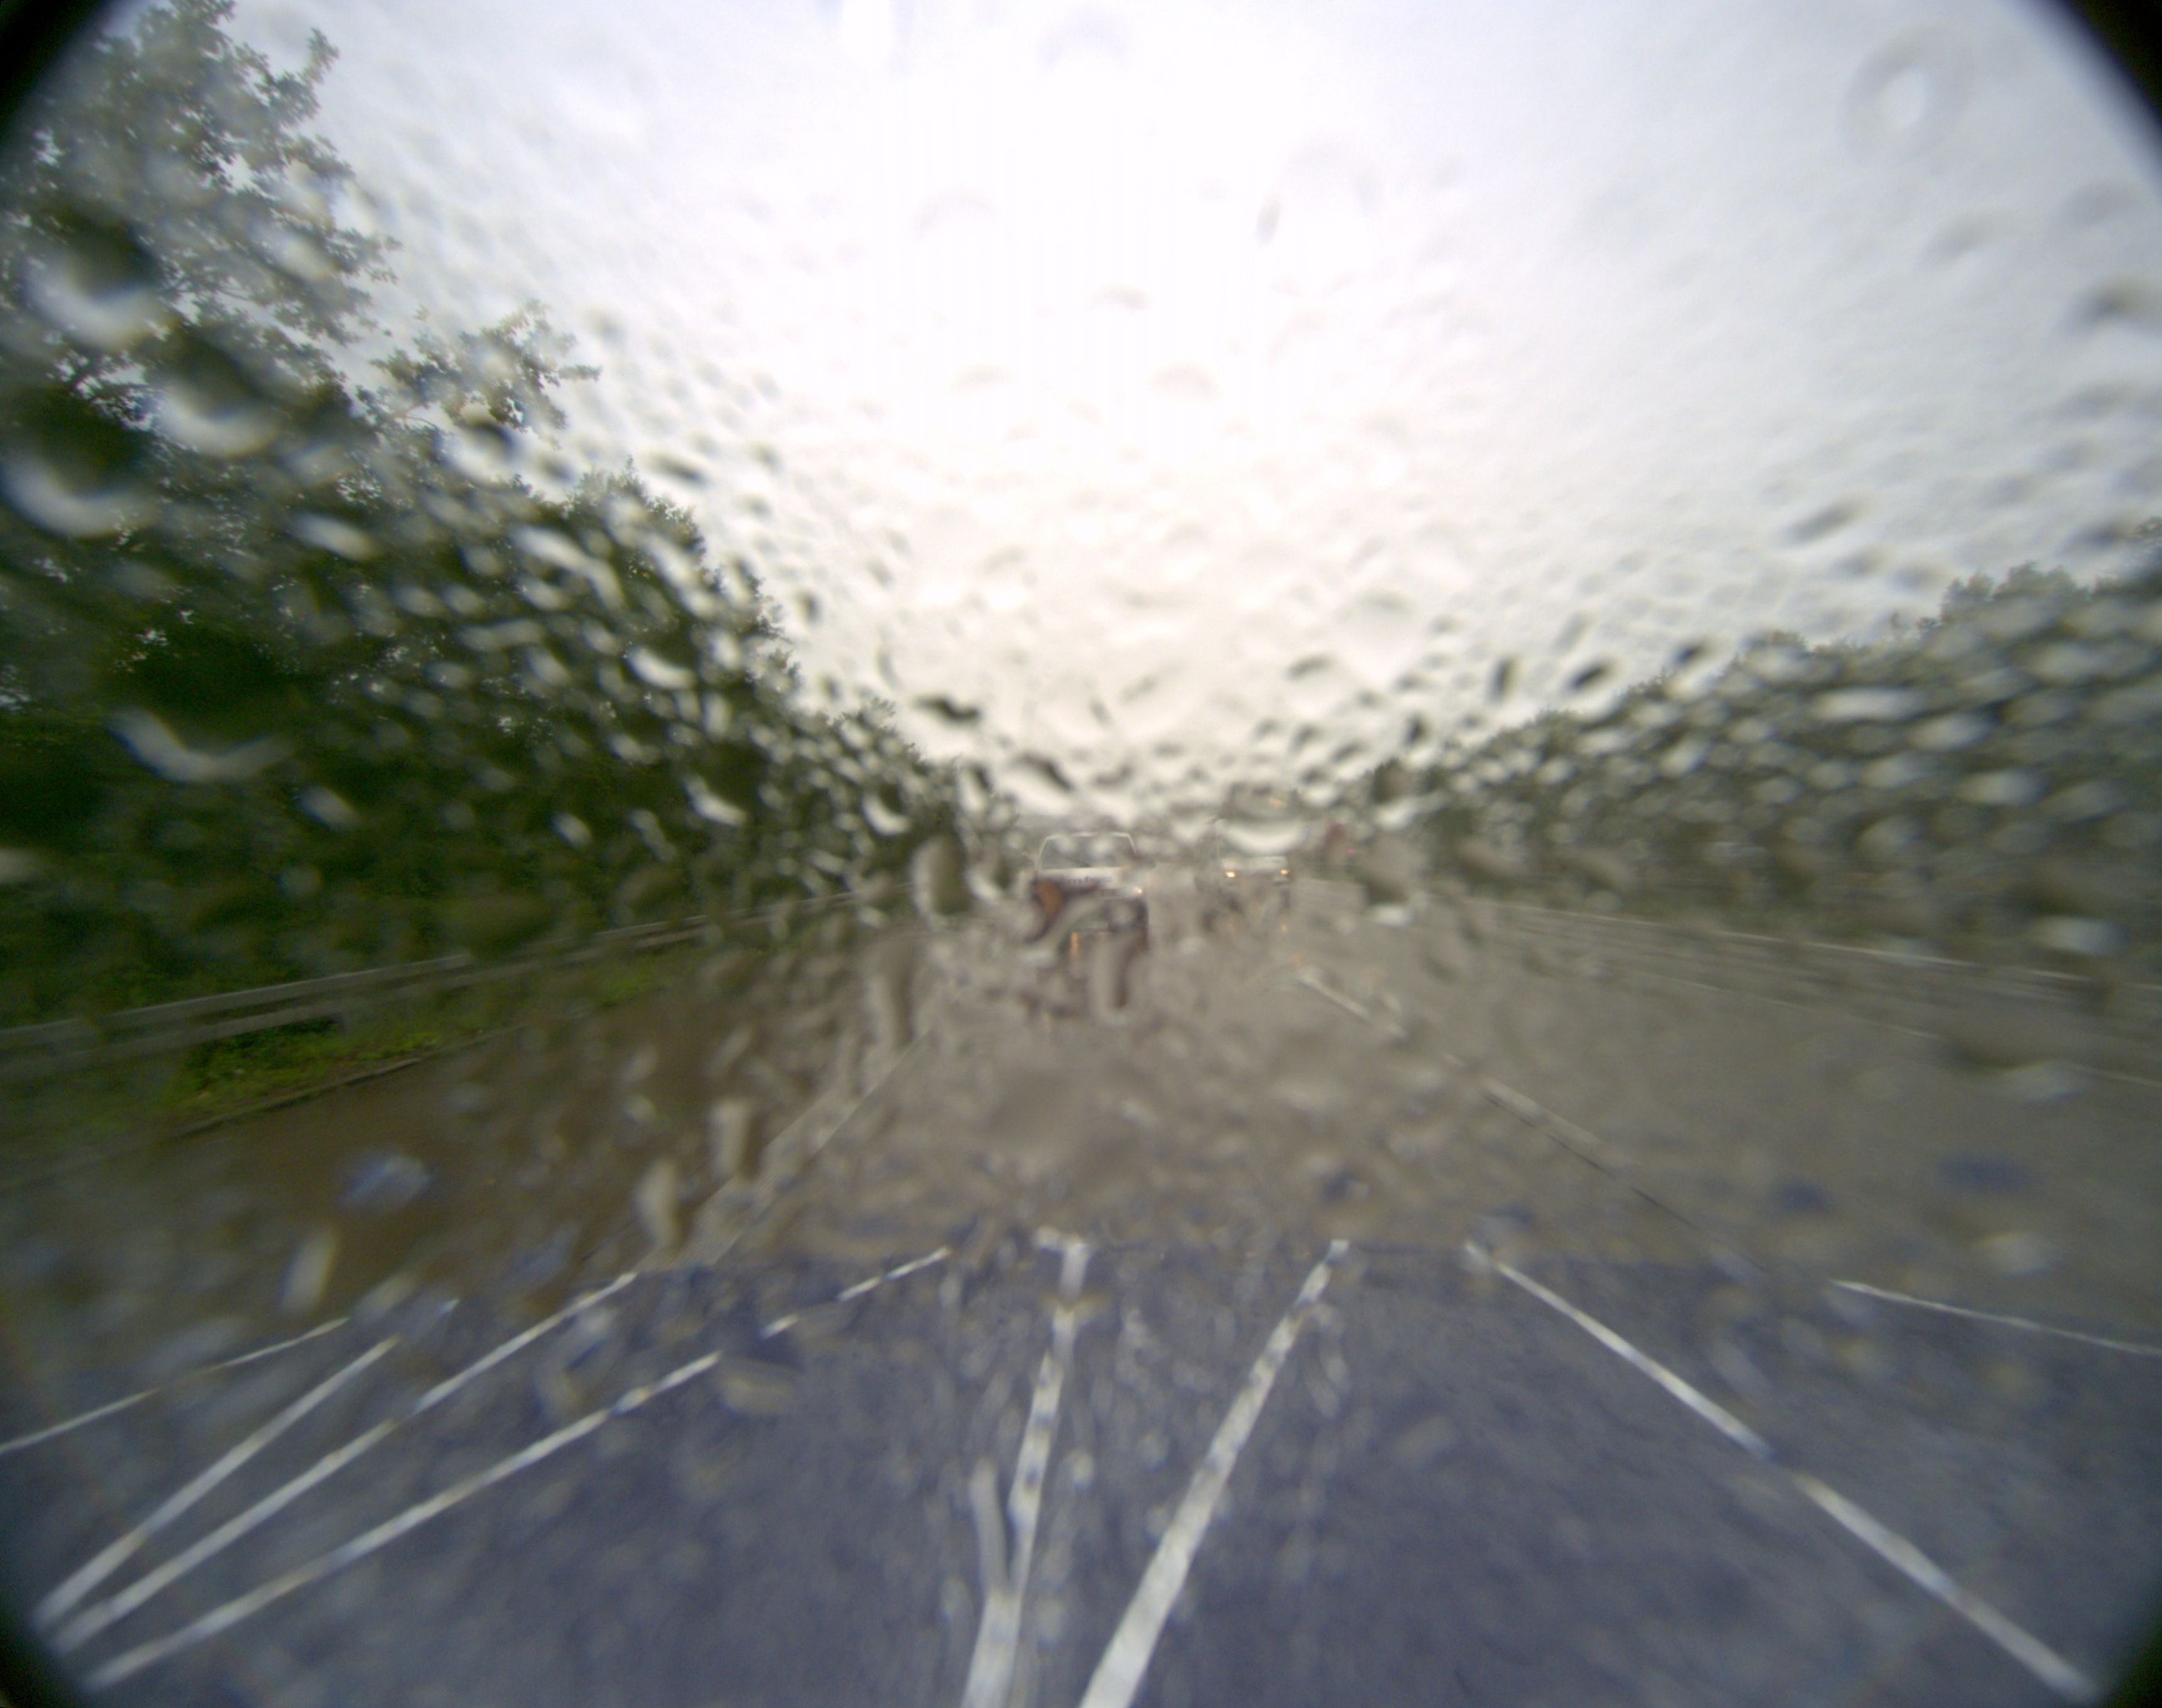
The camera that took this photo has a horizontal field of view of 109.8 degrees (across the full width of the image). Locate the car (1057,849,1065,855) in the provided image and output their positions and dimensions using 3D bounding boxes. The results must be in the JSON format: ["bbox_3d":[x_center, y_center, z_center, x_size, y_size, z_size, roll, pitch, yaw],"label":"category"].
[{"bbox_3d":[-5.402,-0.494,205.167,1.850,1.521,3.999,-2,1,-2],"label":"car"}]

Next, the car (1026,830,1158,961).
[{"bbox_3d":[0.125,0.611,13.938,1.904,1.883,5.042,-2,0,-1],"label":"car"}]

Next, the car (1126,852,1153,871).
[{"bbox_3d":[4.665,0.564,60.594,1.745,1.380,4.320,0,1,-1],"label":"car"}]

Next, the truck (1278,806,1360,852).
[{"bbox_3d":[24.389,-2.401,79.298,3.132,4.220,16.368,-2,0,-1],"label":"truck"}]

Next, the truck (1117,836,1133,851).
[{"bbox_3d":[13.820,-3.238,240.216,3.691,4.280,13.291,-2,0,-2],"label":"truck"}]

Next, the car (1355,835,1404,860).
[{"bbox_3d":[21.368,-0.478,54.610,1.952,1.649,4.000,-2,0,1],"label":"car"}]

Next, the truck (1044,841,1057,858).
[{"bbox_3d":[-7.425,-1.067,186.462,3.059,3.995,10.042,1,-1,-1],"label":"truck"}]

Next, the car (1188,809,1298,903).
[{"bbox_3d":[4.681,0.040,22.990,2.003,2.418,5.790,-2,0,0],"label":"car"}]

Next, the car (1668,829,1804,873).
[{"bbox_3d":[21.718,-0.103,25.360,1.671,1.304,3.318,-2,0,1],"label":"car"}]
